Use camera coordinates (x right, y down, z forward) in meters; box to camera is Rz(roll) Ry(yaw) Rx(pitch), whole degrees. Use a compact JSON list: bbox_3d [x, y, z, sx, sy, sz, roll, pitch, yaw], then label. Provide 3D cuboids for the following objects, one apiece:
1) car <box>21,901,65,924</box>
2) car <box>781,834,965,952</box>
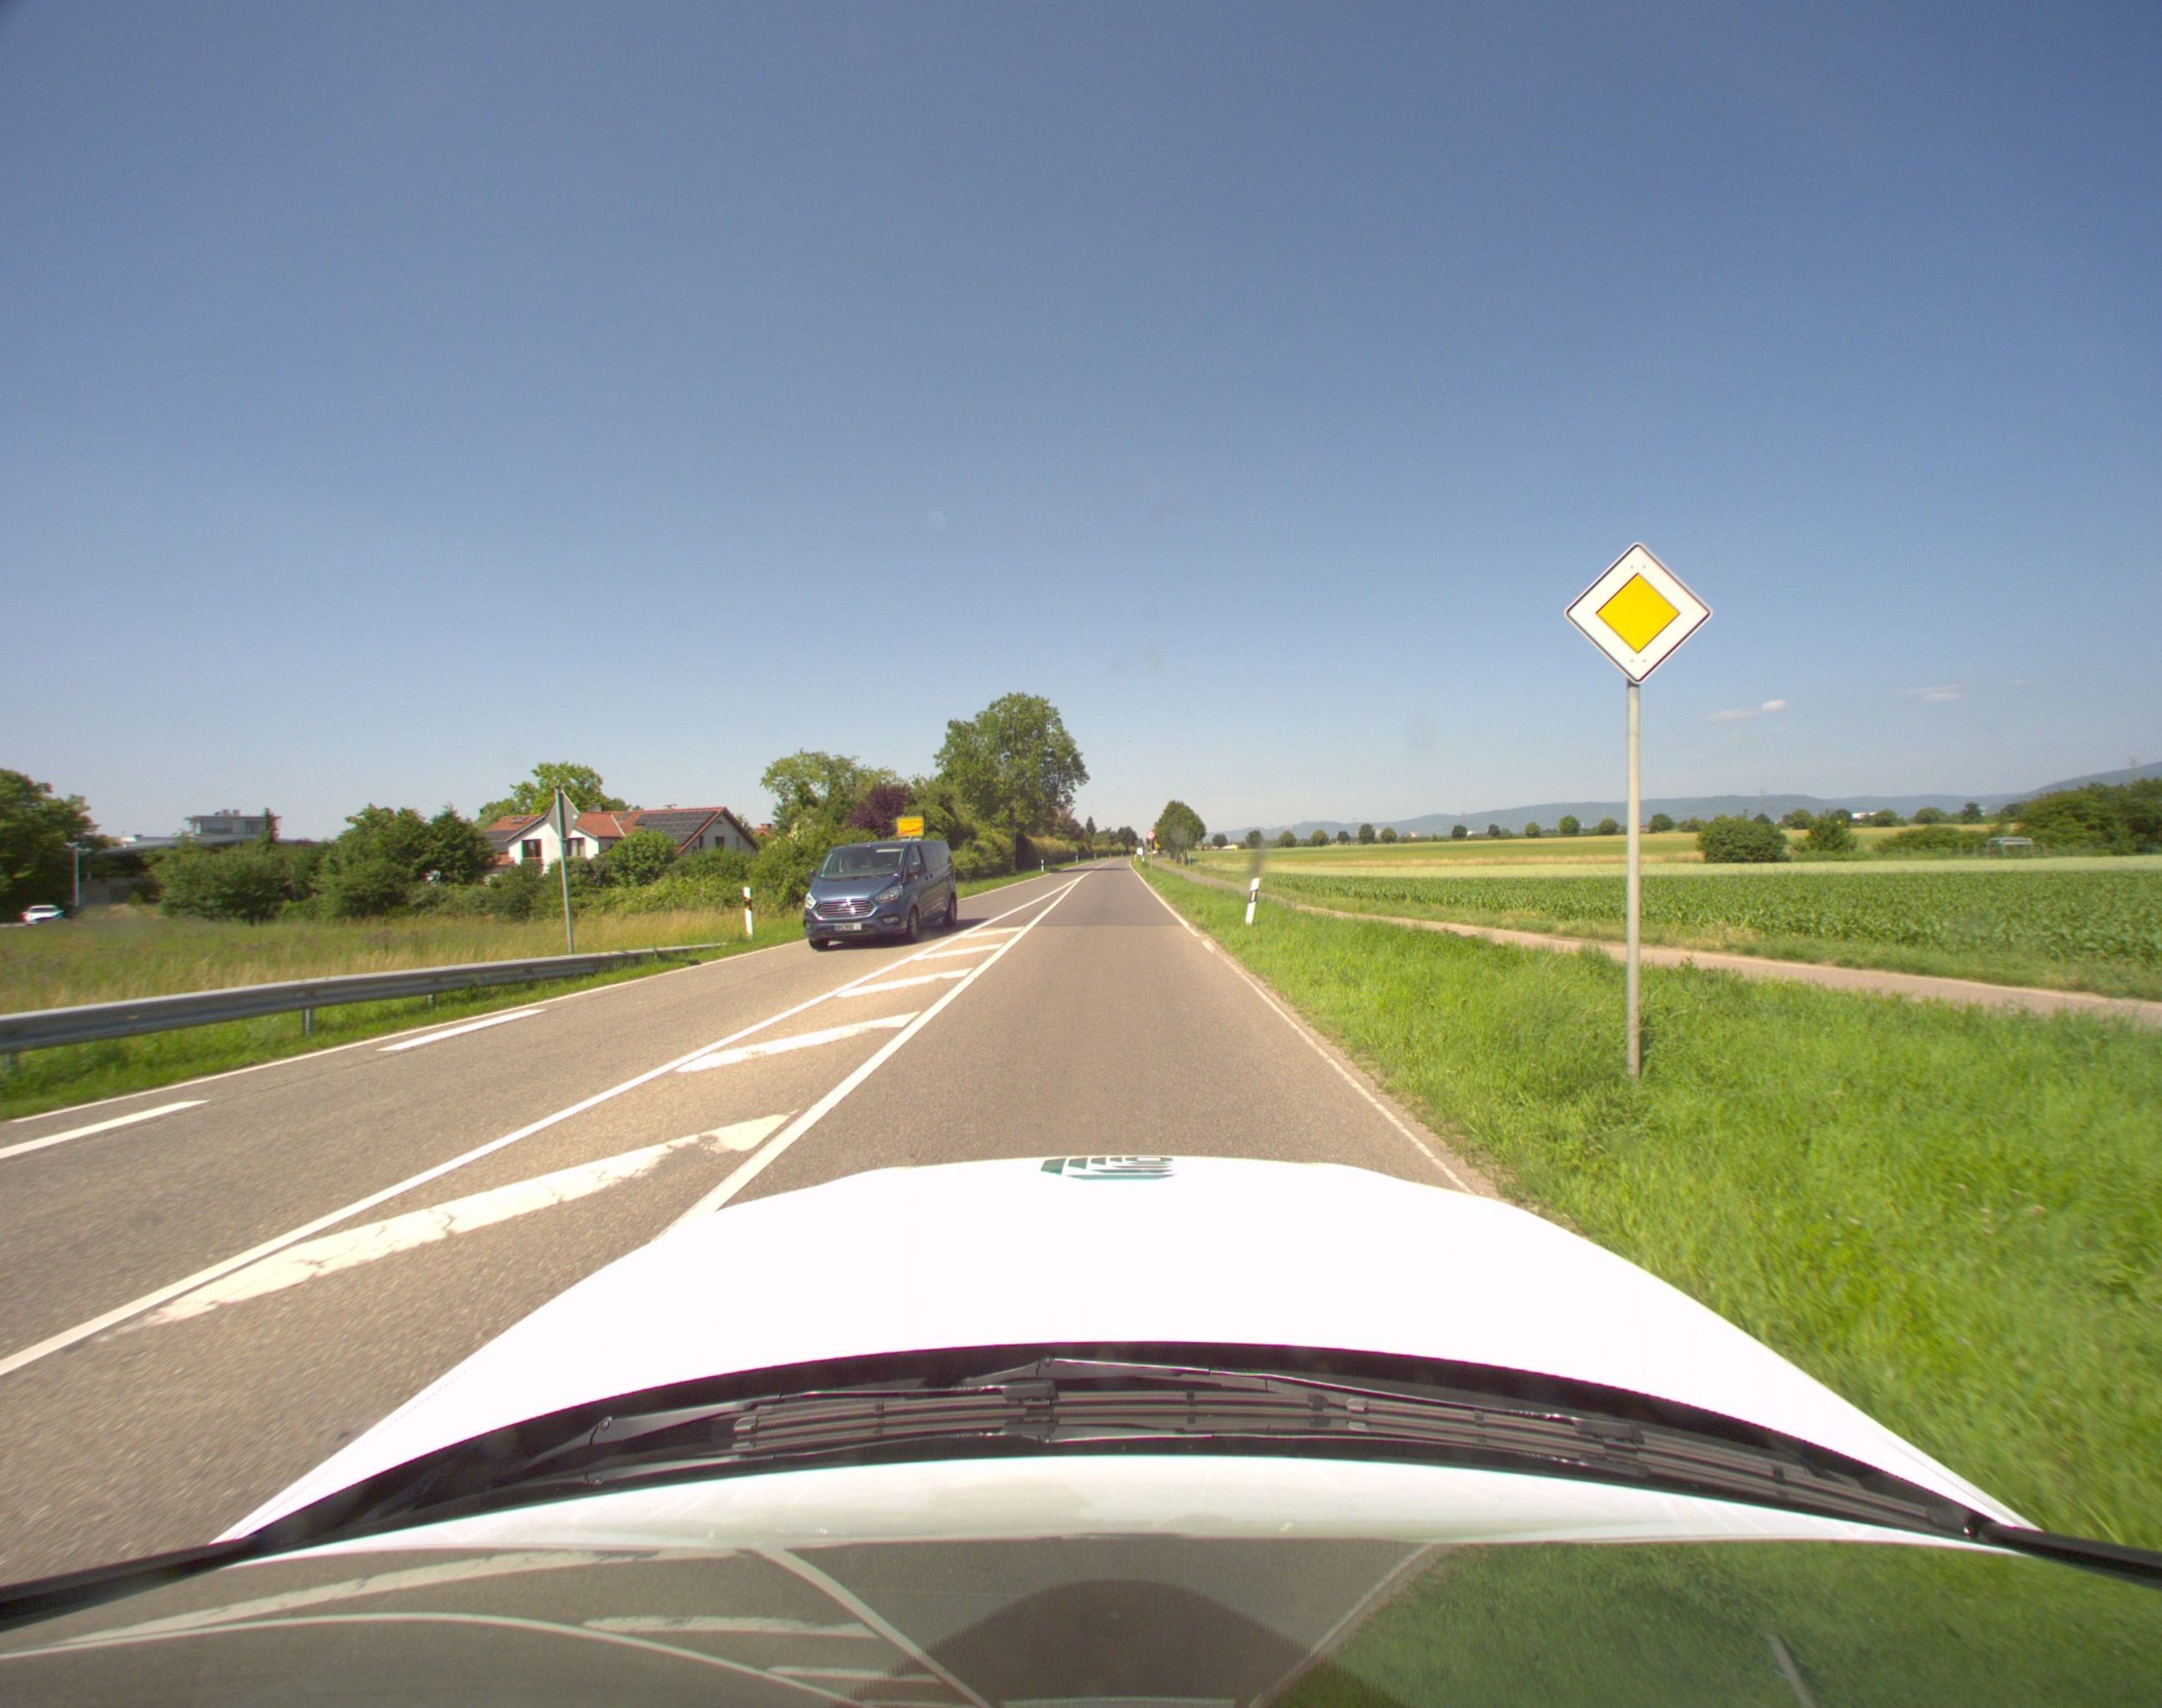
[{"bbox_3d":[-82.068,4.586,64.399,3.948,1.618,1.837,-2,0,34],"label":"car"},{"bbox_3d":[-4.005,0.663,16.817,2.136,1.951,5.251,-3,0,3],"label":"car"}]
